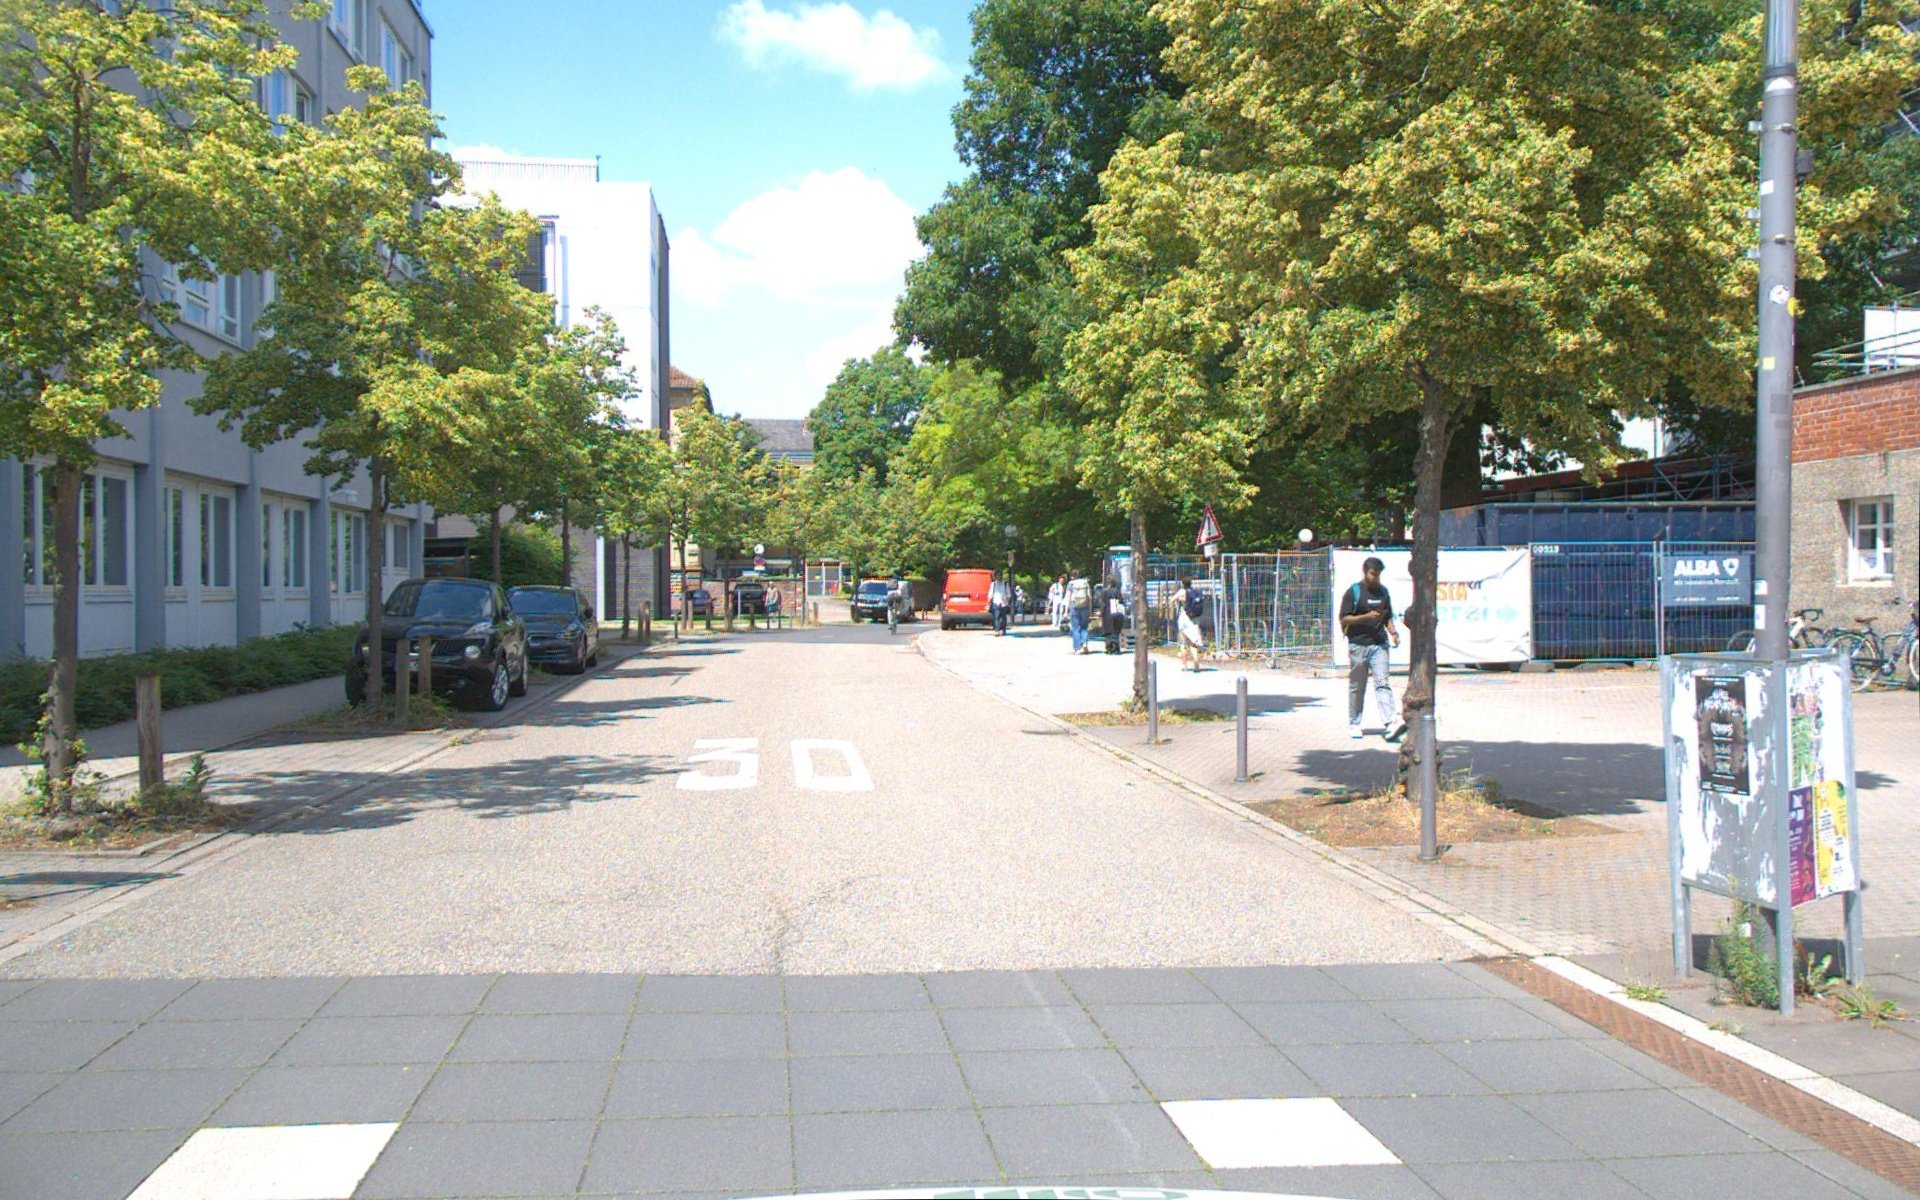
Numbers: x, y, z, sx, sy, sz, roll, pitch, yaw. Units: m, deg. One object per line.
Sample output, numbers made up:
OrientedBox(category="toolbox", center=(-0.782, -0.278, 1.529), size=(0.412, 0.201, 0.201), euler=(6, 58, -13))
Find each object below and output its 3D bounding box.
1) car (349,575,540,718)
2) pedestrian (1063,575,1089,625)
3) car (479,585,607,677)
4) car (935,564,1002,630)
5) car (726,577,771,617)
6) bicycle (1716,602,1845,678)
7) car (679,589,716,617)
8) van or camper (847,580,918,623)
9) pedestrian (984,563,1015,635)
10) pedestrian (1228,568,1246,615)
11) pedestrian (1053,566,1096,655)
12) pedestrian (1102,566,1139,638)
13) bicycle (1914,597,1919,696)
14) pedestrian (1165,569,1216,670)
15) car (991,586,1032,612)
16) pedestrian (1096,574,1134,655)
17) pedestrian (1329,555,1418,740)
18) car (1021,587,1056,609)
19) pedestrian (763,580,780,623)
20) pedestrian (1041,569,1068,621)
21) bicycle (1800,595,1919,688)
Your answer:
OrientedBox(category="car", center=(-6.369, 0.508, 20.812), size=(1.665, 1.591, 4.060), euler=(-1, 0, -9))
OrientedBox(category="pedestrian", center=(4.082, -0.006, 58.056), size=(0.739, 1.740, 0.555), euler=(0, 0, -43))
OrientedBox(category="car", center=(-7.253, 0.493, 29.132), size=(1.745, 1.486, 4.251), euler=(1, 0, -9))
OrientedBox(category="car", center=(0.323, -0.100, 51.175), size=(1.810, 1.924, 4.892), euler=(-1, 0, 3))
OrientedBox(category="car", center=(-10.911, -0.172, 85.045), size=(2.134, 1.959, 5.175), euler=(0, 0, -9))
OrientedBox(category="bicycle", center=(11.452, 0.546, 23.084), size=(1.639, 1.021, 0.447), euler=(-1, 0, -7))
OrientedBox(category="car", center=(-13.410, 0.145, 84.632), size=(1.783, 1.347, 3.761), euler=(0, 0, -8))
OrientedBox(category="van or camper", center=(-3.607, 0.054, 77.659), size=(1.912, 1.957, 5.425), euler=(1, 0, 13))
OrientedBox(category="pedestrian", center=(1.020, -0.032, 42.558), size=(0.680, 1.812, 0.787), euler=(-1, 0, 6))
OrientedBox(category="pedestrian", center=(10.915, -0.332, 65.185), size=(0.532, 1.869, 0.761), euler=(-1, 0, 0))
OrientedBox(category="pedestrian", center=(2.355, 0.217, 34.054), size=(0.832, 1.794, 0.716), euler=(-1, 0, 1))
OrientedBox(category="pedestrian", center=(3.772, 0.041, 38.769), size=(0.698, 1.660, 0.712), euler=(-1, 0, 19))
OrientedBox(category="bicycle", center=(11.753, 0.518, 18.681), size=(1.771, 1.129, 0.447), euler=(-1, 0, -7))
OrientedBox(category="pedestrian", center=(3.946, 0.324, 28.331), size=(0.637, 1.695, 0.903), euler=(-1, 0, -7))
OrientedBox(category="car", center=(3.248, -0.077, 103.476), size=(1.722, 1.548, 4.115), euler=(0, 0, 14))
OrientedBox(category="pedestrian", center=(3.168, 0.294, 33.873), size=(0.655, 1.628, 0.985), euler=(-1, 0, -1))
OrientedBox(category="pedestrian", center=(3.961, 0.441, 15.890), size=(0.628, 1.726, 0.792), euler=(0, 0, -2))
OrientedBox(category="car", center=(5.272, -0.134, 110.599), size=(1.581, 1.412, 4.003), euler=(0, 0, 14))
OrientedBox(category="pedestrian", center=(-7.915, 0.052, 69.409), size=(0.572, 1.795, 0.911), euler=(-1, 0, 3))
OrientedBox(category="pedestrian", center=(3.374, -0.172, 58.910), size=(0.718, 1.853, 0.620), euler=(0, 0, -43))
OrientedBox(category="bicycle", center=(11.438, 0.512, 20.713), size=(1.669, 1.129, 0.447), euler=(-1, 0, -7))
